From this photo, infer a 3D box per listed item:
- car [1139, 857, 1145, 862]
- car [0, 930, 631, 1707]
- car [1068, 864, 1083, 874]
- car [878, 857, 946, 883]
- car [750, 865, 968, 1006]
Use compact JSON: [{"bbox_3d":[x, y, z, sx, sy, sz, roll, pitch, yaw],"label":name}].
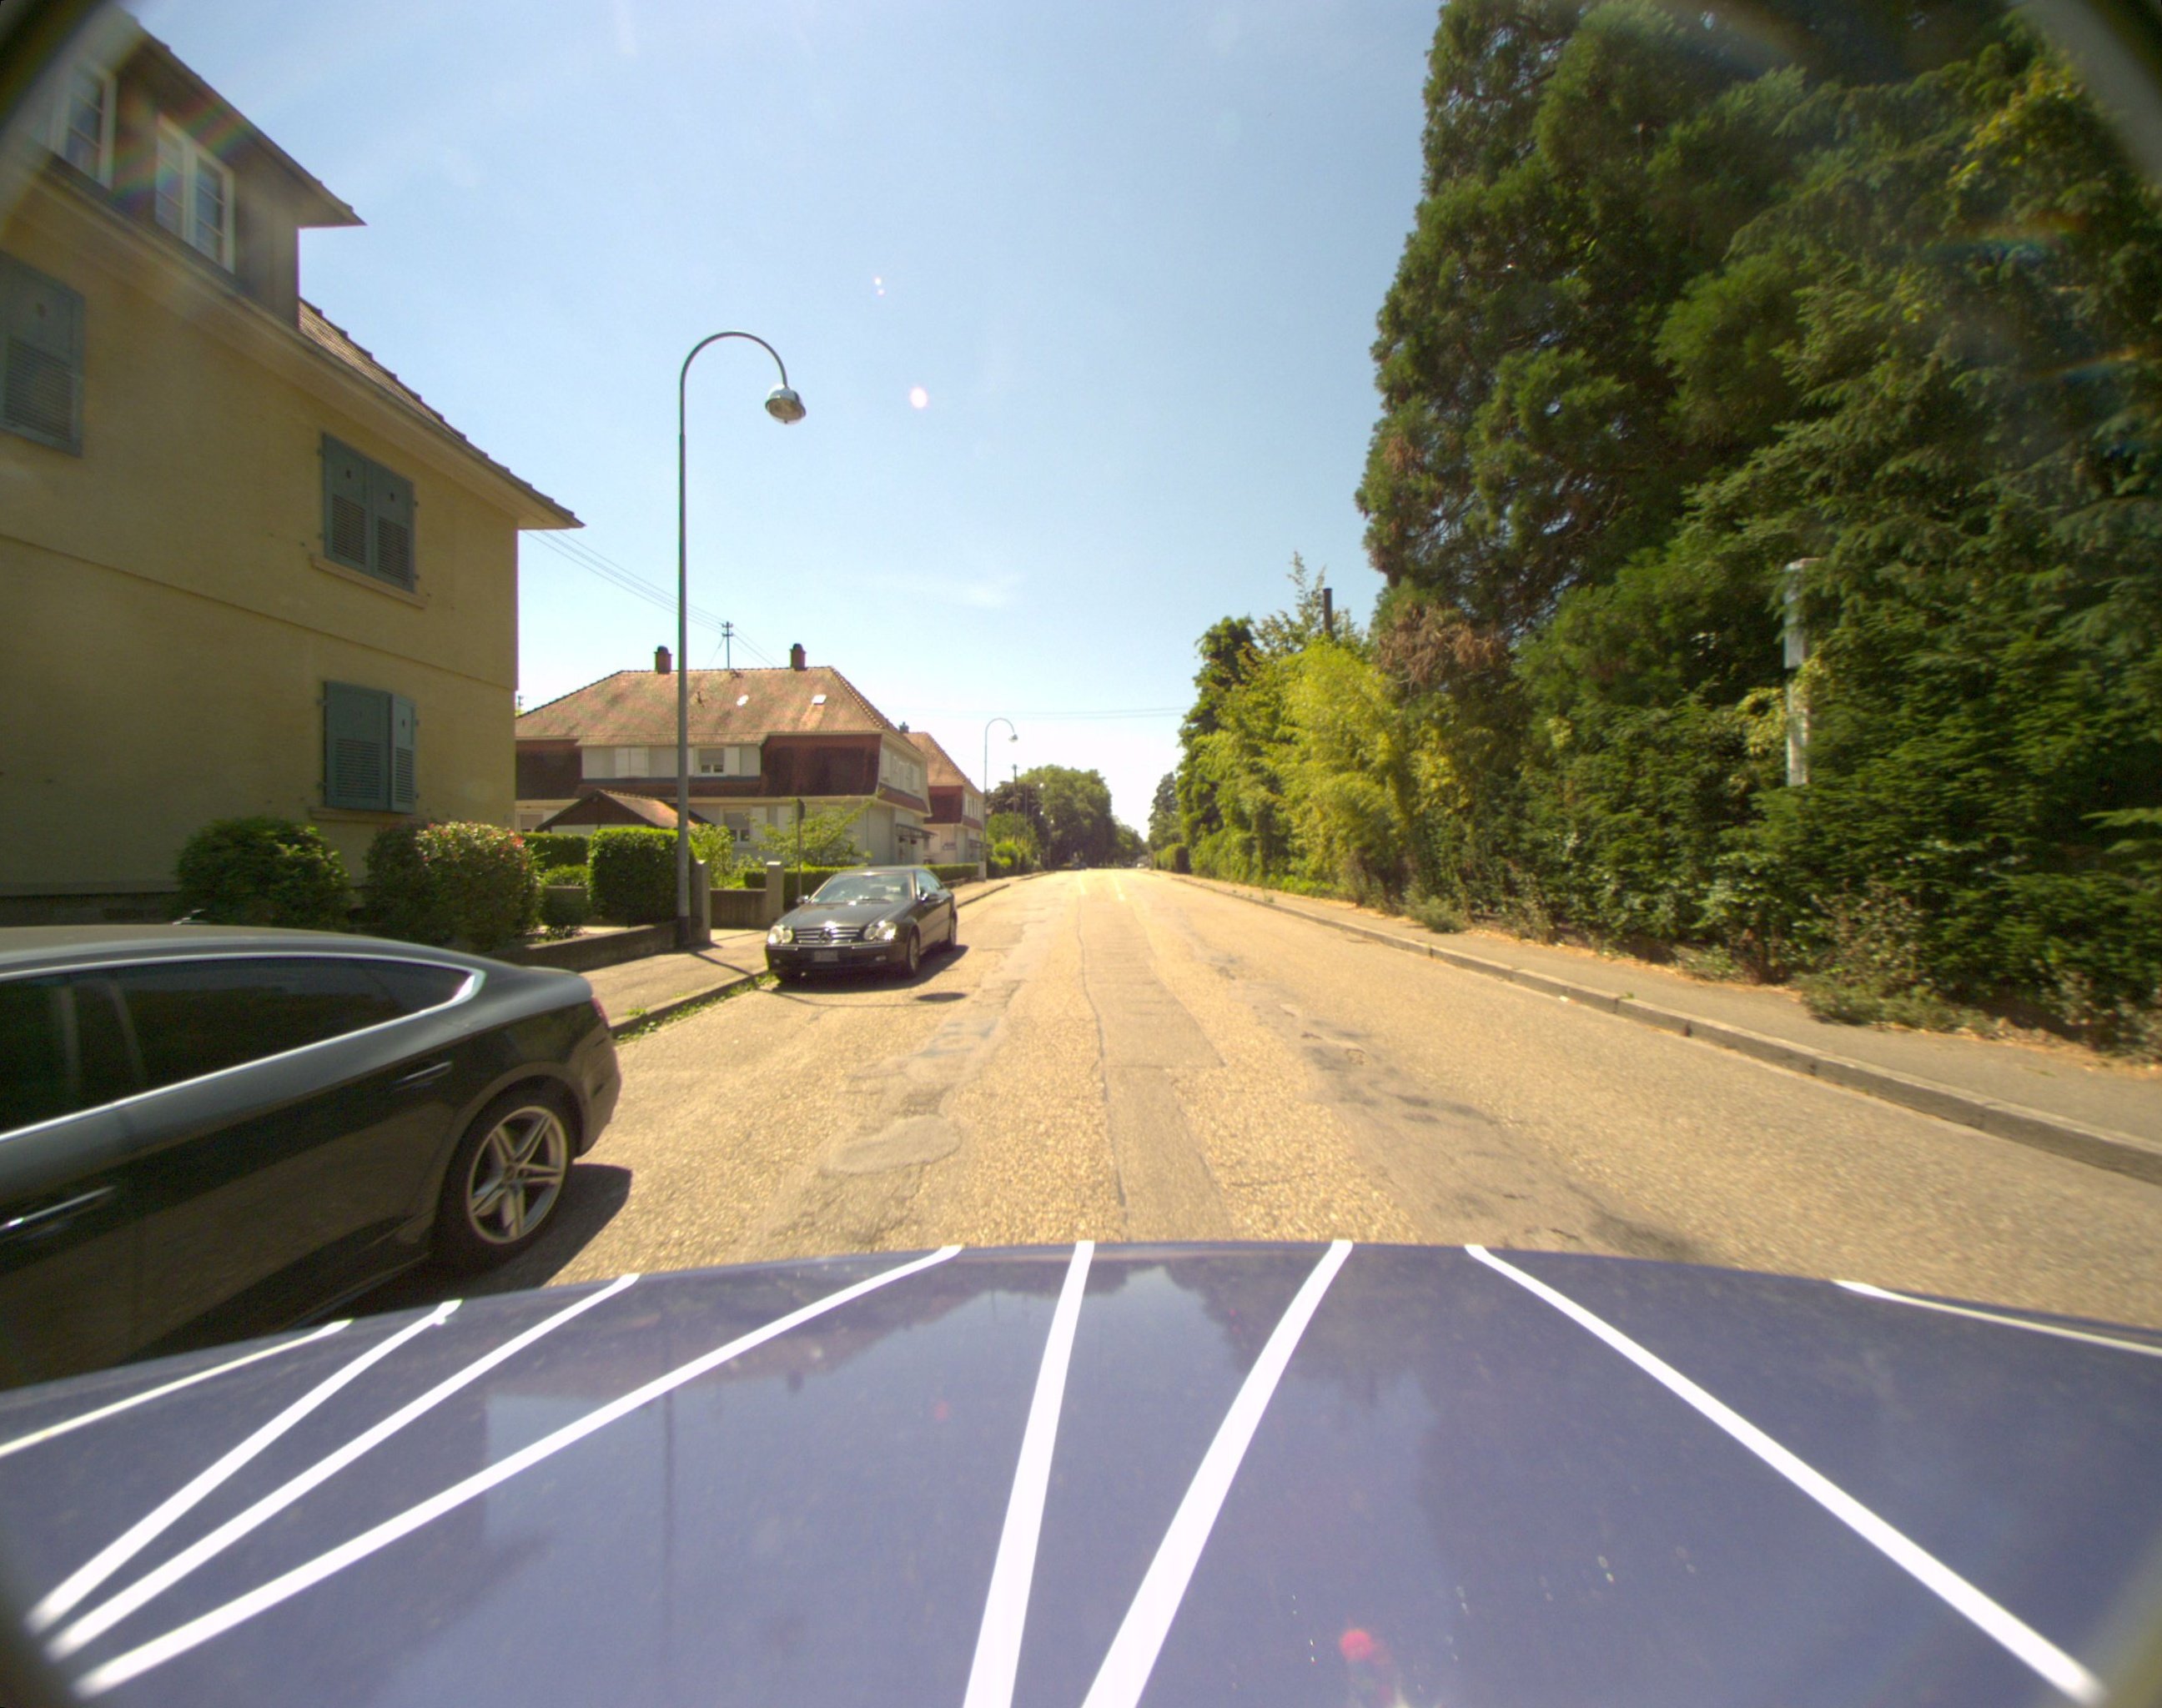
[{"bbox_3d":[16.808,1.627,209.669,1.684,1.364,4.207,0,0,3],"label":"car"},{"bbox_3d":[-3.106,1.088,1.404,1.765,1.363,4.607,-2,0,0],"label":"car"},{"bbox_3d":[-0.866,2.463,128.555,1.882,1.623,4.324,0,0,9],"label":"car"},{"bbox_3d":[-10.972,1.000,49.468,4.006,1.527,1.693,-2,1,-1],"label":"car"},{"bbox_3d":[-2.836,0.950,10.827,1.697,1.410,4.550,-1,1,0],"label":"car"}]
